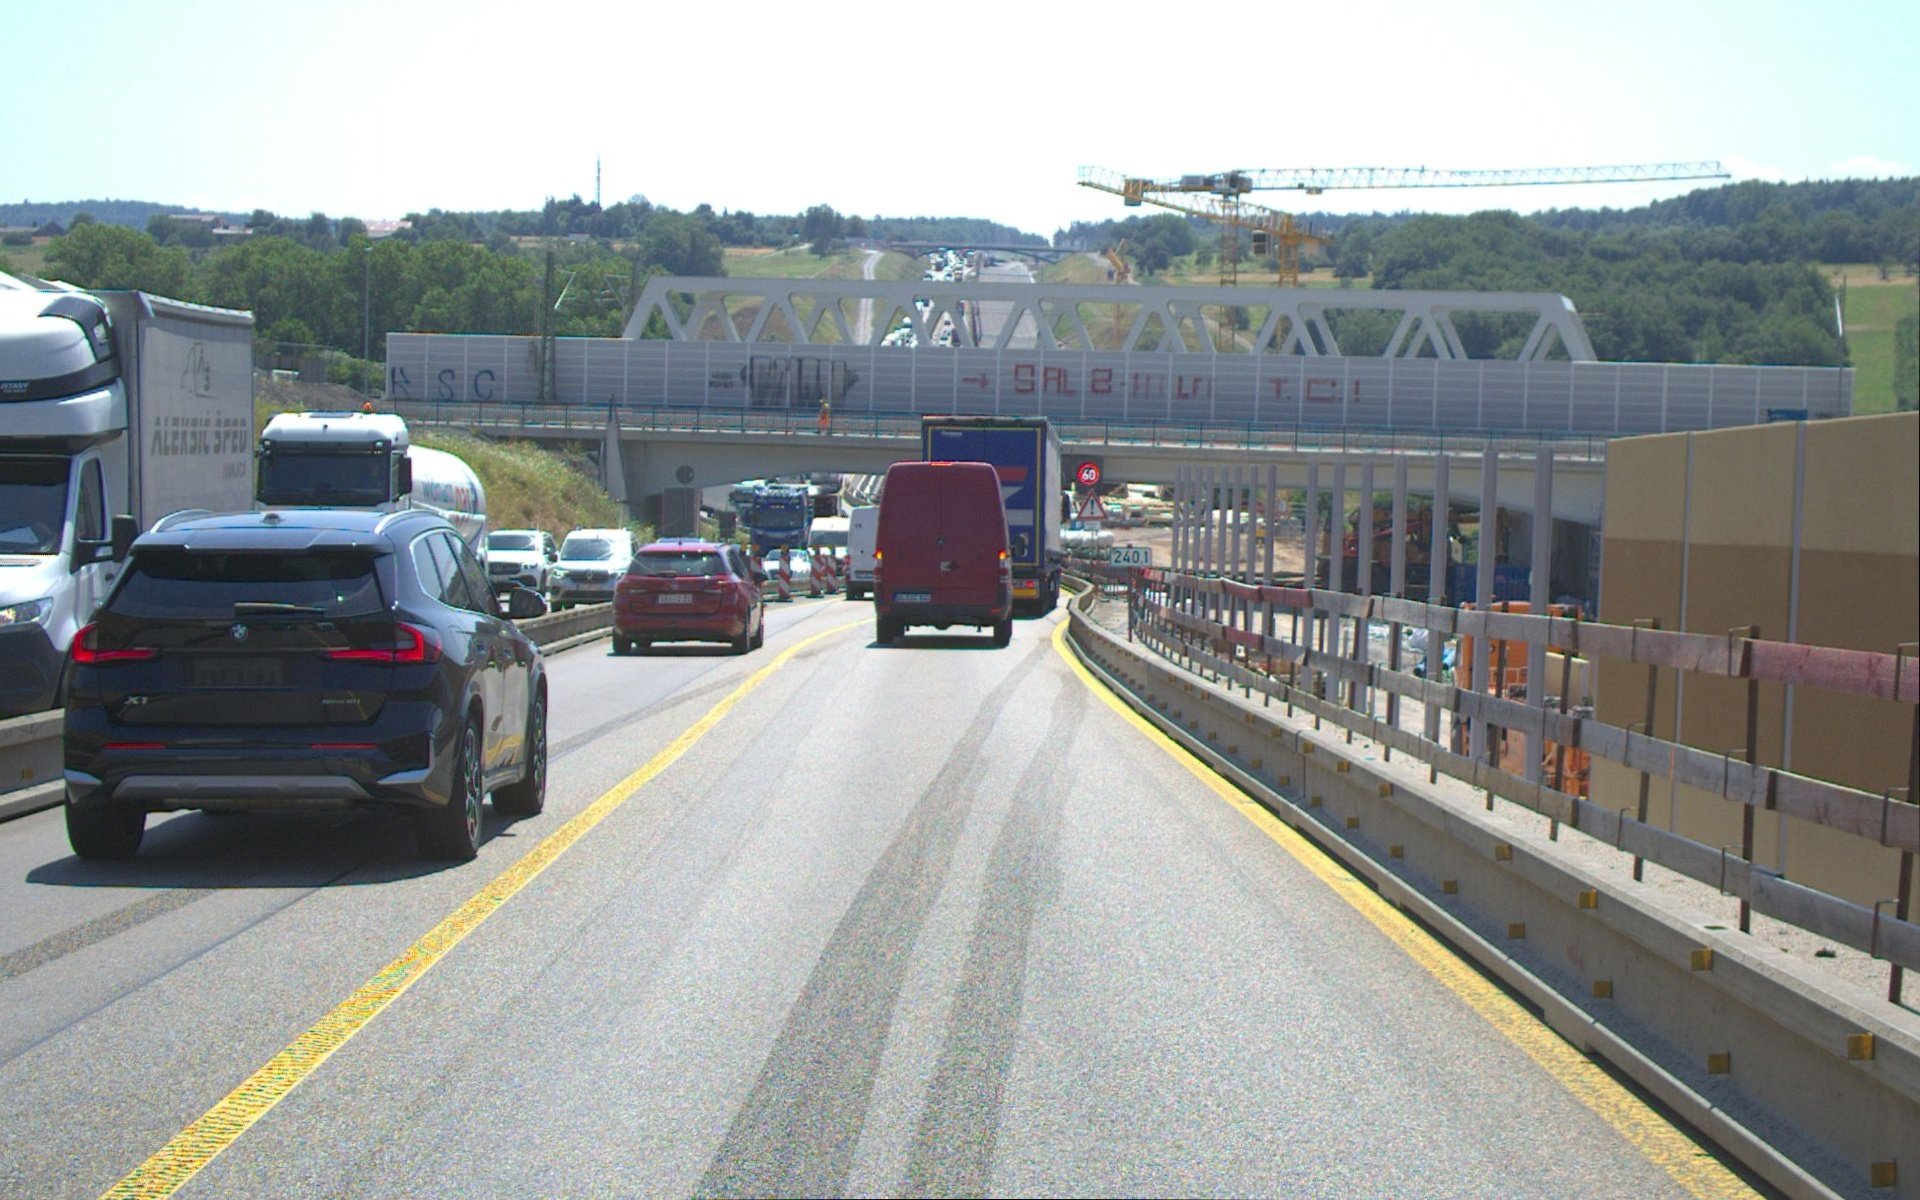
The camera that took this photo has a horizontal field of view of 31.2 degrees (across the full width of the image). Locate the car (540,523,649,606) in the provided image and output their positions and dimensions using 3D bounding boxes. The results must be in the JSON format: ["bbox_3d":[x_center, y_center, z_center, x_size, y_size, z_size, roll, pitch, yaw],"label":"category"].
[{"bbox_3d":[-7.939,-0.804,75.006,1.880,1.739,4.483,0,1,0],"label":"car"}]

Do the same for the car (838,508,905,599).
[{"bbox_3d":[-2.391,-1.291,93.578,1.776,2.433,4.206,0,1,-1],"label":"car"}]

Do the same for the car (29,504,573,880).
[{"bbox_3d":[-3.083,0.341,17.023,1.879,1.612,4.499,0,1,-1],"label":"car"}]

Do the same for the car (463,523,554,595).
[{"bbox_3d":[-11.273,-1.045,86.126,1.790,1.756,4.538,0,1,-1],"label":"car"}]

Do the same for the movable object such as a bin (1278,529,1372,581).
[{"bbox_3d":[20.496,-2.546,193.059,5.147,2.798,2.142,1,1,6],"label":"movable object such as a bin"}]

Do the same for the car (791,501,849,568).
[{"bbox_3d":[-5.615,-2.657,138.495,1.993,2.598,7.011,1,1,0],"label":"car"}]

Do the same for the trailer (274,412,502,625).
[{"bbox_3d":[-11.107,-1.610,67.899,2.590,3.788,11.919,1,1,-1],"label":"trailer"}]

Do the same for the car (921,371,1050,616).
[{"bbox_3d":[0.459,-2.320,75.654,2.621,5.015,10.398,0,1,-1],"label":"car"}]

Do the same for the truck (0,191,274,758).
[{"bbox_3d":[-7.270,-0.936,26.445,2.589,3.745,7.359,1,1,-1],"label":"truck"}]

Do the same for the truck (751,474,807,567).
[{"bbox_3d":[-7.993,-3.515,152.310,2.357,4.001,4.001,1,1,-2],"label":"truck"}]

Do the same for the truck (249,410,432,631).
[{"bbox_3d":[-11.046,-1.428,61.583,2.590,3.788,3.767,1,1,-1],"label":"truck"}]

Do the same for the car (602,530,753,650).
[{"bbox_3d":[-3.731,-0.166,45.969,1.776,1.512,4.206,0,1,-1],"label":"car"}]

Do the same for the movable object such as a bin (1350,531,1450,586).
[{"bbox_3d":[23.219,-2.218,181.575,5.147,2.798,2.142,1,1,6],"label":"movable object such as a bin"}]

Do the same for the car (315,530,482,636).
[{"bbox_3d":[-8.250,-0.280,50.844,1.779,1.453,4.721,1,1,-1],"label":"car"}]

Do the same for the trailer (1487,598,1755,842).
[{"bbox_3d":[12.424,2.074,65.969,2.758,3.873,13.049,1,1,1],"label":"trailer"}]

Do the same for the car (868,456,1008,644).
[{"bbox_3d":[-0.298,-0.768,51.167,1.988,2.681,4.624,0,1,0],"label":"car"}]

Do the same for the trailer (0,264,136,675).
[{"bbox_3d":[-10.706,-1.269,32.556,2.698,4.010,13.704,1,1,-1],"label":"trailer"}]

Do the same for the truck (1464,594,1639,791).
[{"bbox_3d":[12.571,1.897,73.509,2.758,3.873,5.882,1,1,1],"label":"truck"}]

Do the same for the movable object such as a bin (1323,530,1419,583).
[{"bbox_3d":[22.442,-2.365,187.857,5.147,2.798,2.142,1,1,6],"label":"movable object such as a bin"}]
